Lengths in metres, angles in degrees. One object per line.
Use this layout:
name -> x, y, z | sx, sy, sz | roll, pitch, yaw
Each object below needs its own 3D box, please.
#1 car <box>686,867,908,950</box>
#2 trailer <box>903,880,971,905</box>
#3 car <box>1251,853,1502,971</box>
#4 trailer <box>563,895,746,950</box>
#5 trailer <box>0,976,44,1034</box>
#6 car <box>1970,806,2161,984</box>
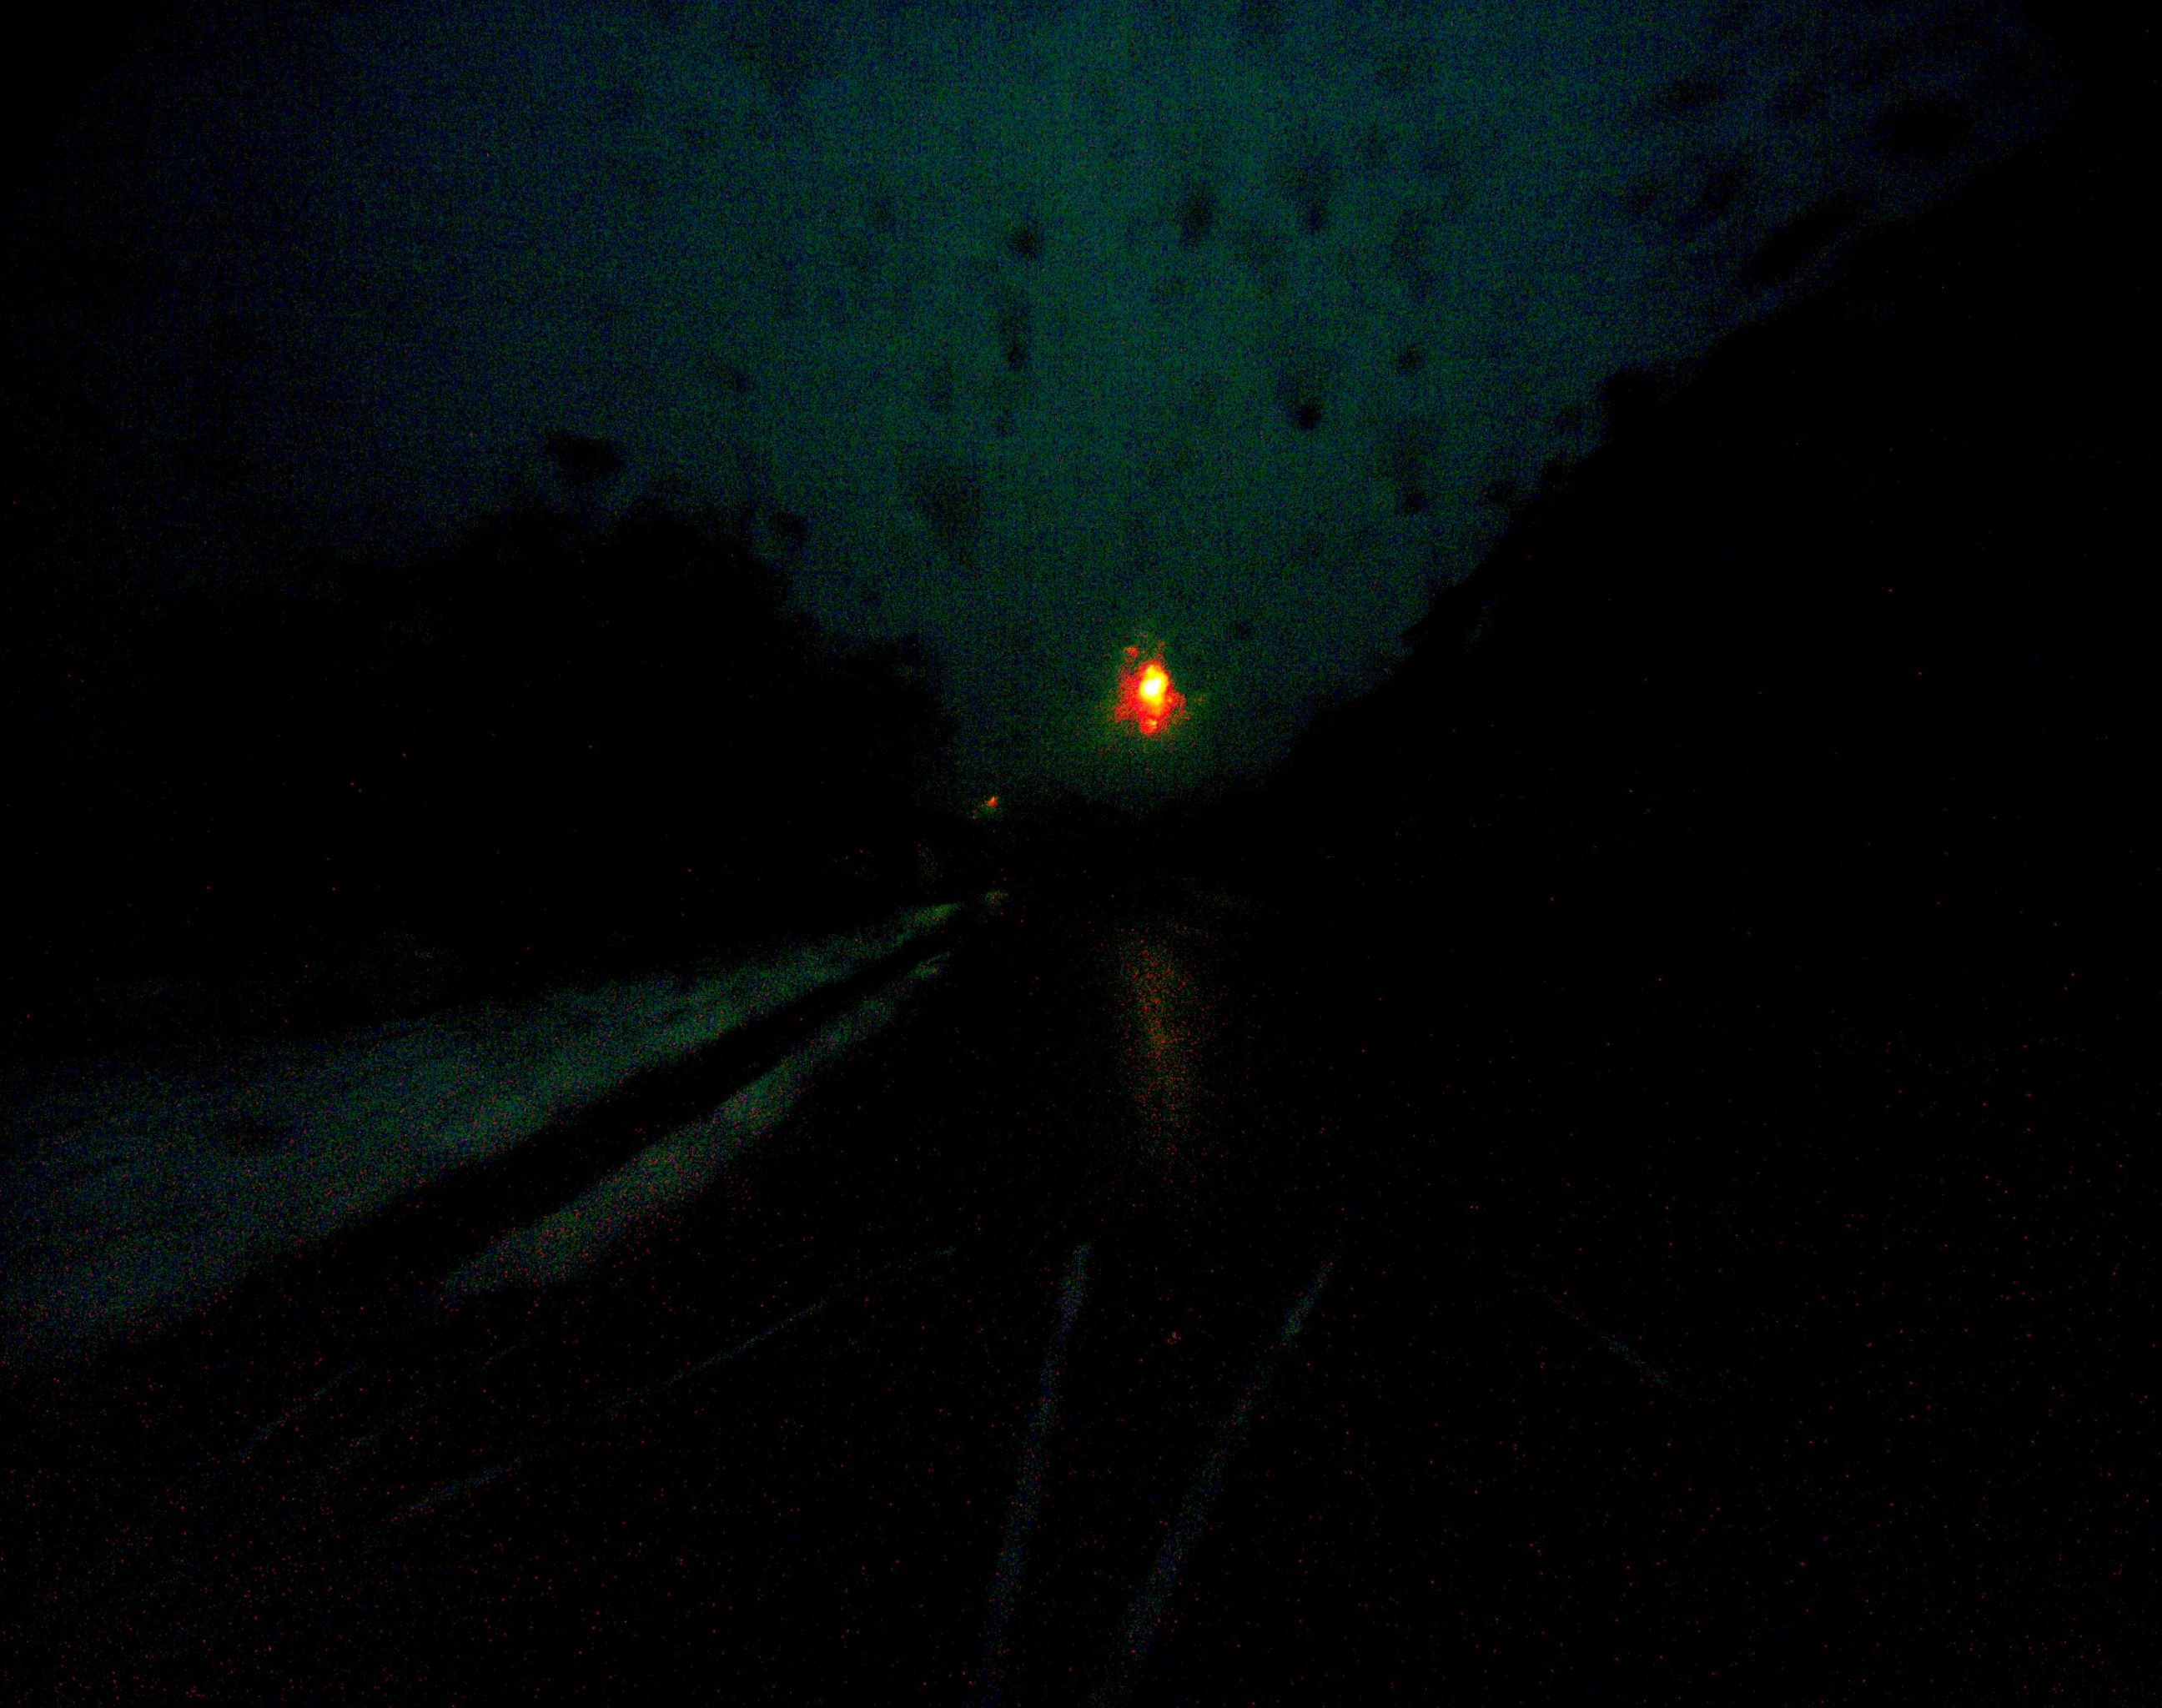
car -> -6.706, 1.255, 18.366 | 4.461, 1.374, 2.035 | -7, 0, -1
trailer -> -6.210, 1.619, 32.461 | 1.552, 0.940, 3.991 | -1, -1, -31
car -> 4.432, 0.770, 12.535 | 1.882, 1.418, 5.391 | -3, 0, -1
trailer -> -11.833, 1.879, 21.383 | 3.882, 1.085, 2.244 | -4, 0, -8
trailer -> -20.257, 2.771, 12.445 | 1.849, 0.940, 3.659 | -1, -1, -10
car -> 12.813, 0.307, 8.350 | 3.997, 1.639, 1.792 | -4, 3, 0
